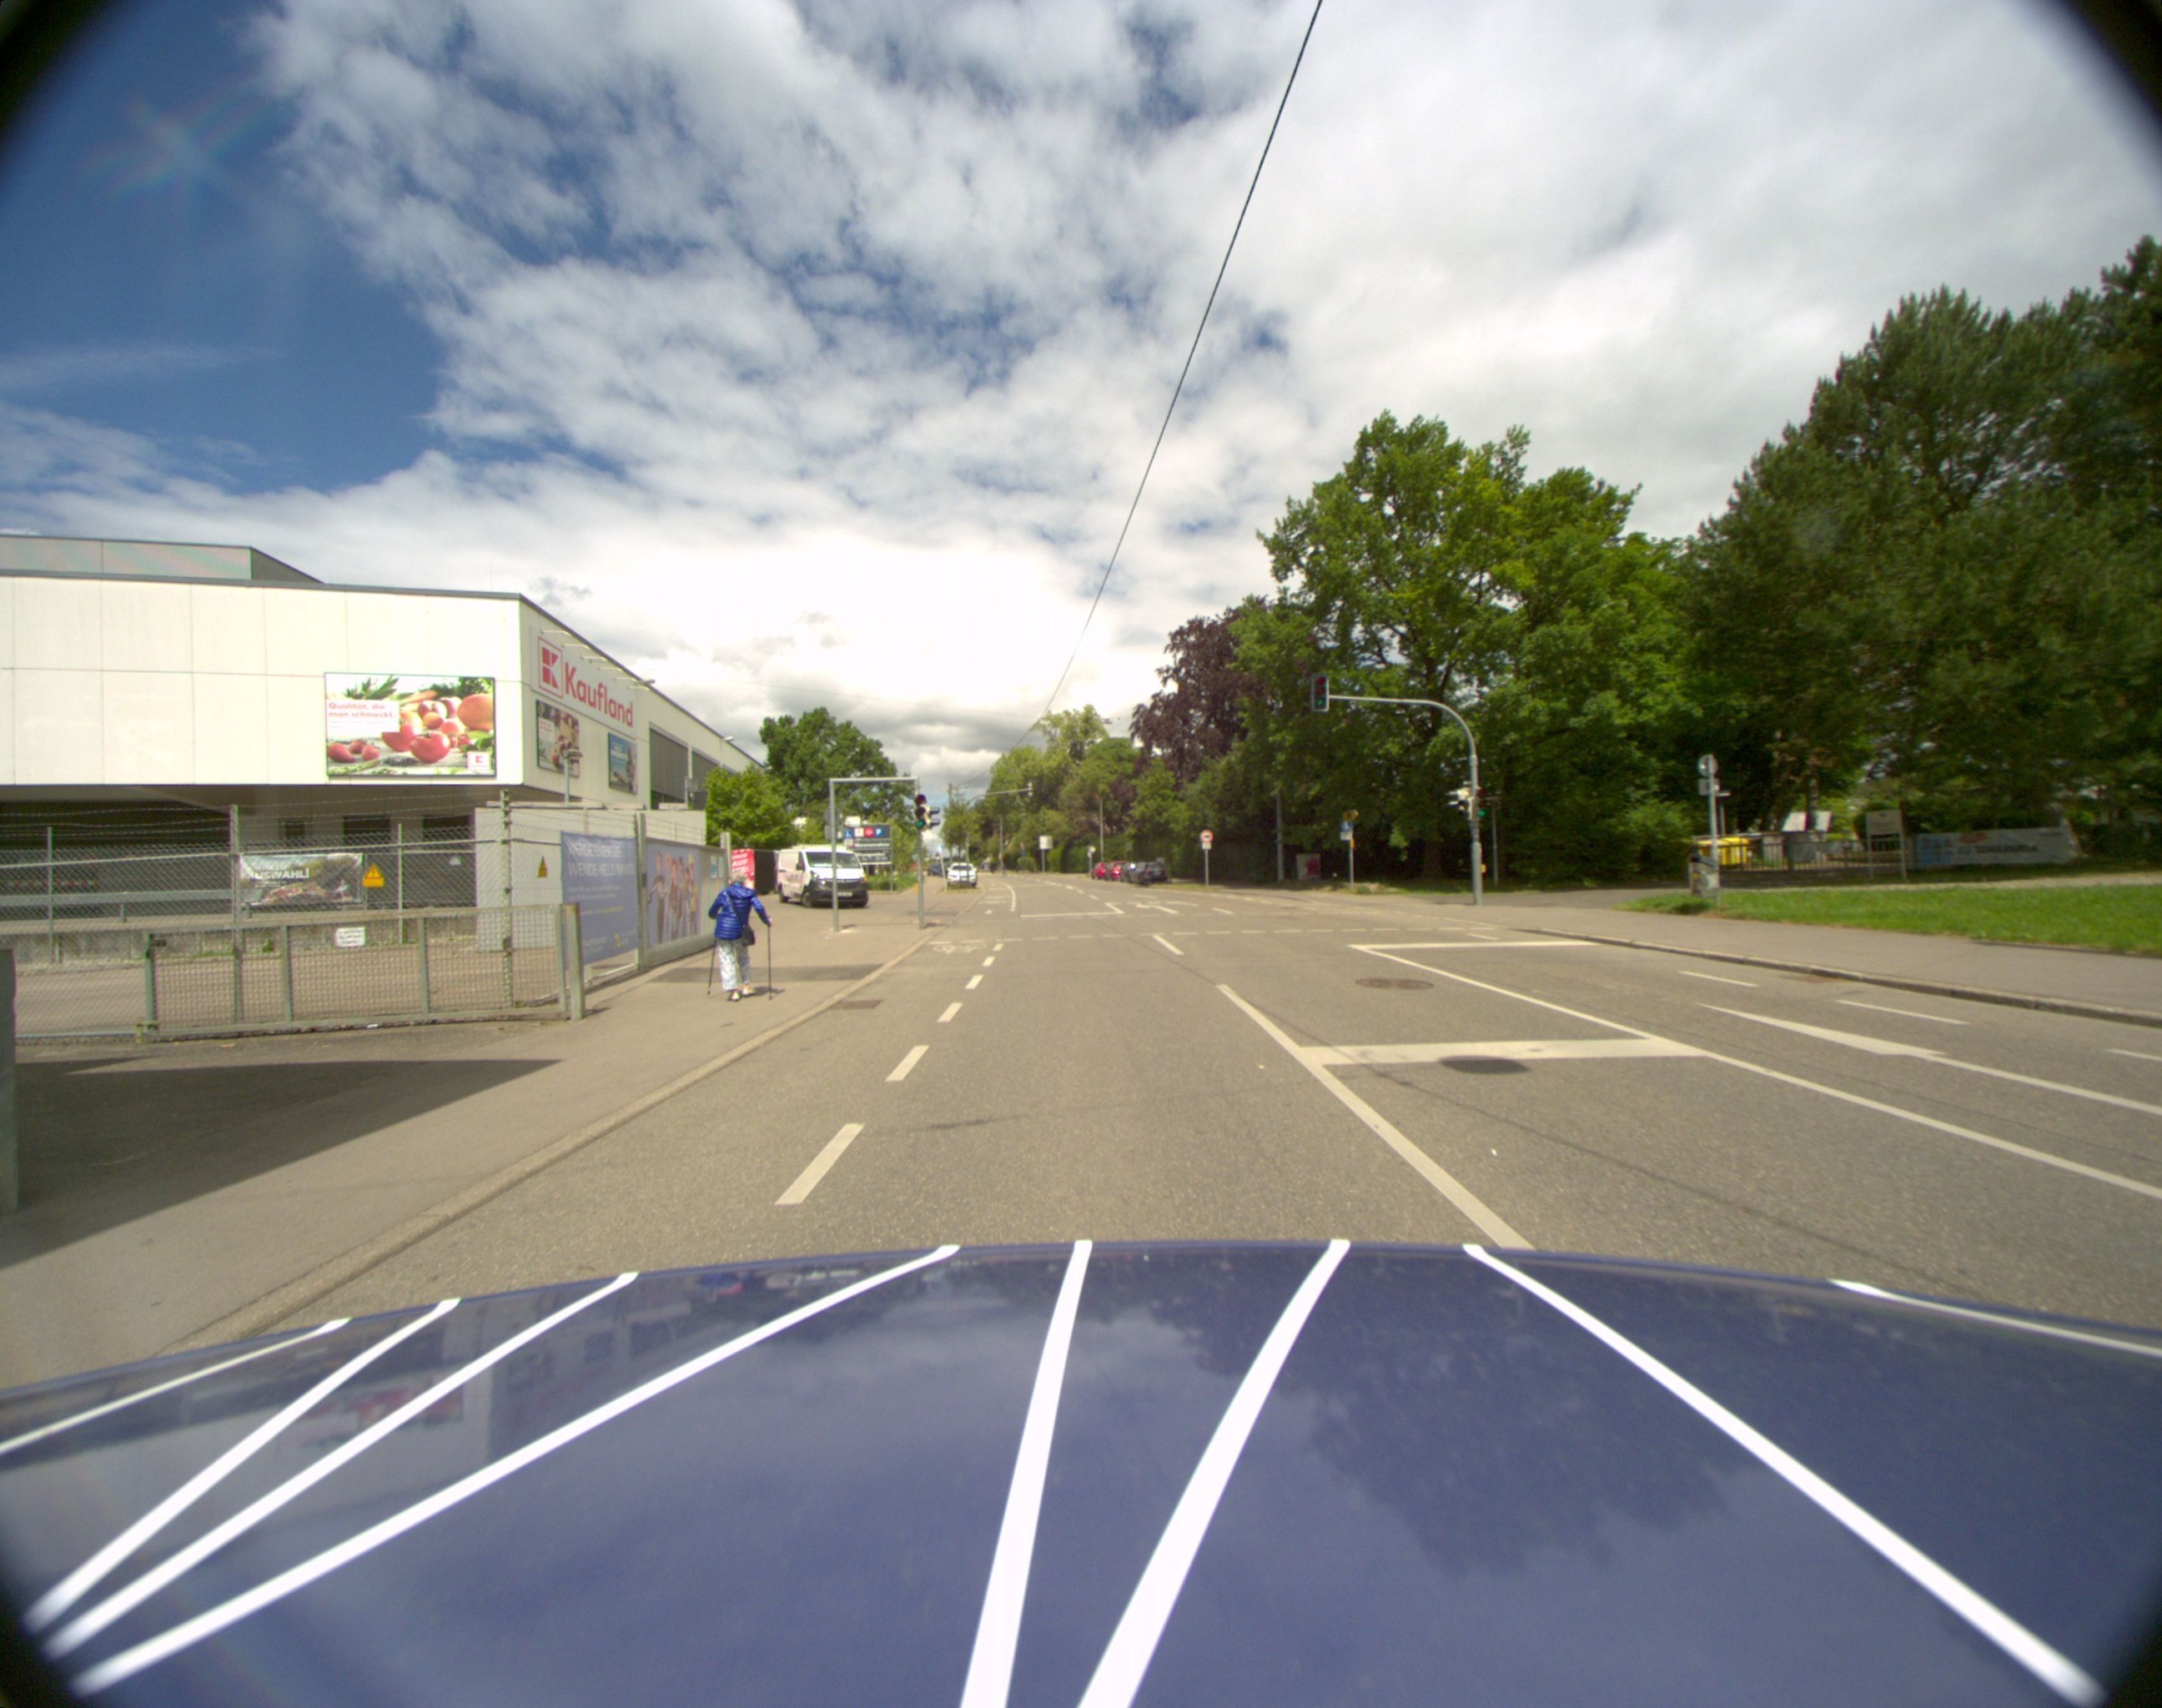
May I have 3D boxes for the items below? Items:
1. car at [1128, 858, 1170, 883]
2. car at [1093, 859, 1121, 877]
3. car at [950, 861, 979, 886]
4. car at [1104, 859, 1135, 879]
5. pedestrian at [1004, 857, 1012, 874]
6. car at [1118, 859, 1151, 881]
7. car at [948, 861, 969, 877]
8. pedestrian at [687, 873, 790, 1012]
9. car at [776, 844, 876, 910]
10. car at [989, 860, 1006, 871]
[{"bbox_3d":[4.338,1.056,49.122,1.688,1.407,4.398,-3,1,-9],"label":"car"},{"bbox_3d":[2.125,1.154,63.193,1.531,1.358,3.371,-3,1,-12],"label":"car"},{"bbox_3d":[-7.699,1.244,50.342,1.796,1.522,3.918,1,0,-9],"label":"car"},{"bbox_3d":[2.921,1.125,58.238,1.524,1.469,3.321,-3,0,-12],"label":"car"},{"bbox_3d":[-7.469,1.162,77.743,0.554,1.663,0.587,-3,0,-28],"label":"pedestrian"},{"bbox_3d":[3.758,1.126,53.729,1.560,1.404,3.191,-3,1,-9],"label":"car"},{"bbox_3d":[-12.639,1.495,78.445,1.707,1.522,3.995,-3,0,-15],"label":"car"},{"bbox_3d":[-4.104,1.024,9.189,0.826,1.563,0.987,0,0,-4],"label":"pedestrian"},{"bbox_3d":[-8.826,0.722,25.994,2.003,2.011,5.338,-1,0,-32],"label":"car"},{"bbox_3d":[-11.650,1.586,105.685,1.852,1.546,3.945,-3,0,-13],"label":"car"}]
